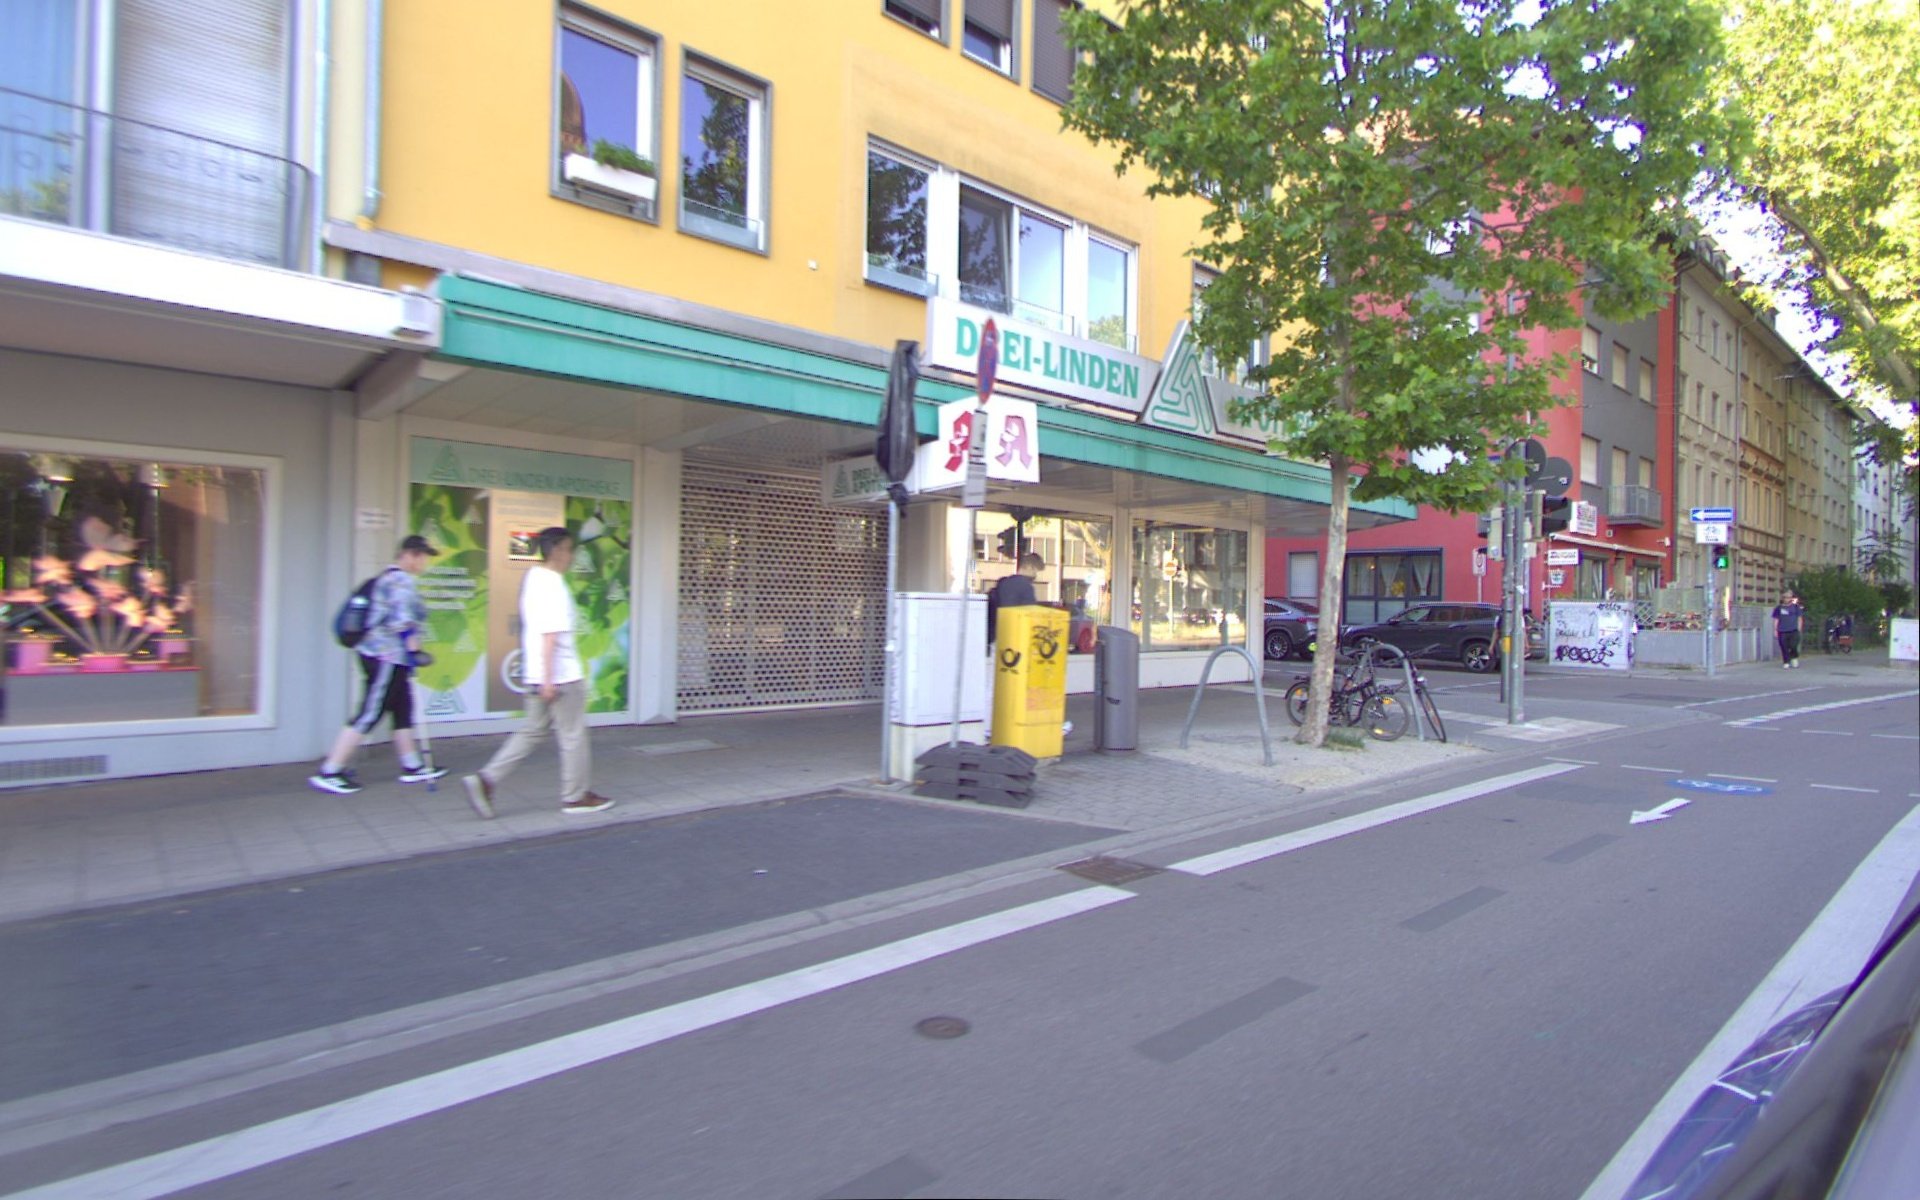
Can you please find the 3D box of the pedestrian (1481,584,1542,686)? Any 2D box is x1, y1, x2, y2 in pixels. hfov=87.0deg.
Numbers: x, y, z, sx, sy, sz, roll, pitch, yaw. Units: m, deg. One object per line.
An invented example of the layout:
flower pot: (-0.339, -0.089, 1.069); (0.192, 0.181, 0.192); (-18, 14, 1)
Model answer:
pedestrian: (10.367, 0.631, 19.013); (0.879, 1.801, 0.745); (-4, 4, -41)

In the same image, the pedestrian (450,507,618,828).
pedestrian: (-2.615, 0.372, 6.206); (0.753, 1.801, 0.725); (0, 1, -41)

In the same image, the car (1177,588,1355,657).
car: (8.591, 0.580, 28.714); (1.741, 1.762, 4.610); (1, 0, -41)

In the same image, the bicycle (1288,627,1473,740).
bicycle: (4.605, 0.876, 11.183); (0.532, 1.020, 1.800); (1, 3, -44)

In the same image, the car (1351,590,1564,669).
car: (12.071, 0.659, 24.774); (1.741, 1.708, 4.348); (1, 0, -41)

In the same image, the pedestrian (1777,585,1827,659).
pedestrian: (20.325, 0.518, 24.439); (0.802, 1.731, 0.728); (0, 3, -41)

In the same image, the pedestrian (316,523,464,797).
pedestrian: (-3.925, 0.375, 6.962); (0.753, 1.745, 0.725); (0, 1, -41)

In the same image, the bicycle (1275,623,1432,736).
bicycle: (4.176, 0.814, 10.821); (0.446, 1.020, 1.484); (1, 3, -44)

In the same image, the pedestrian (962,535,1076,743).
pedestrian: (0.551, 0.333, 9.415); (0.753, 1.829, 0.725); (0, 1, -41)

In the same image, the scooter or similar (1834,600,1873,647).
scooter or similar: (30.069, 0.776, 34.049); (2.500, 1.488, 0.666); (1, 0, -41)
